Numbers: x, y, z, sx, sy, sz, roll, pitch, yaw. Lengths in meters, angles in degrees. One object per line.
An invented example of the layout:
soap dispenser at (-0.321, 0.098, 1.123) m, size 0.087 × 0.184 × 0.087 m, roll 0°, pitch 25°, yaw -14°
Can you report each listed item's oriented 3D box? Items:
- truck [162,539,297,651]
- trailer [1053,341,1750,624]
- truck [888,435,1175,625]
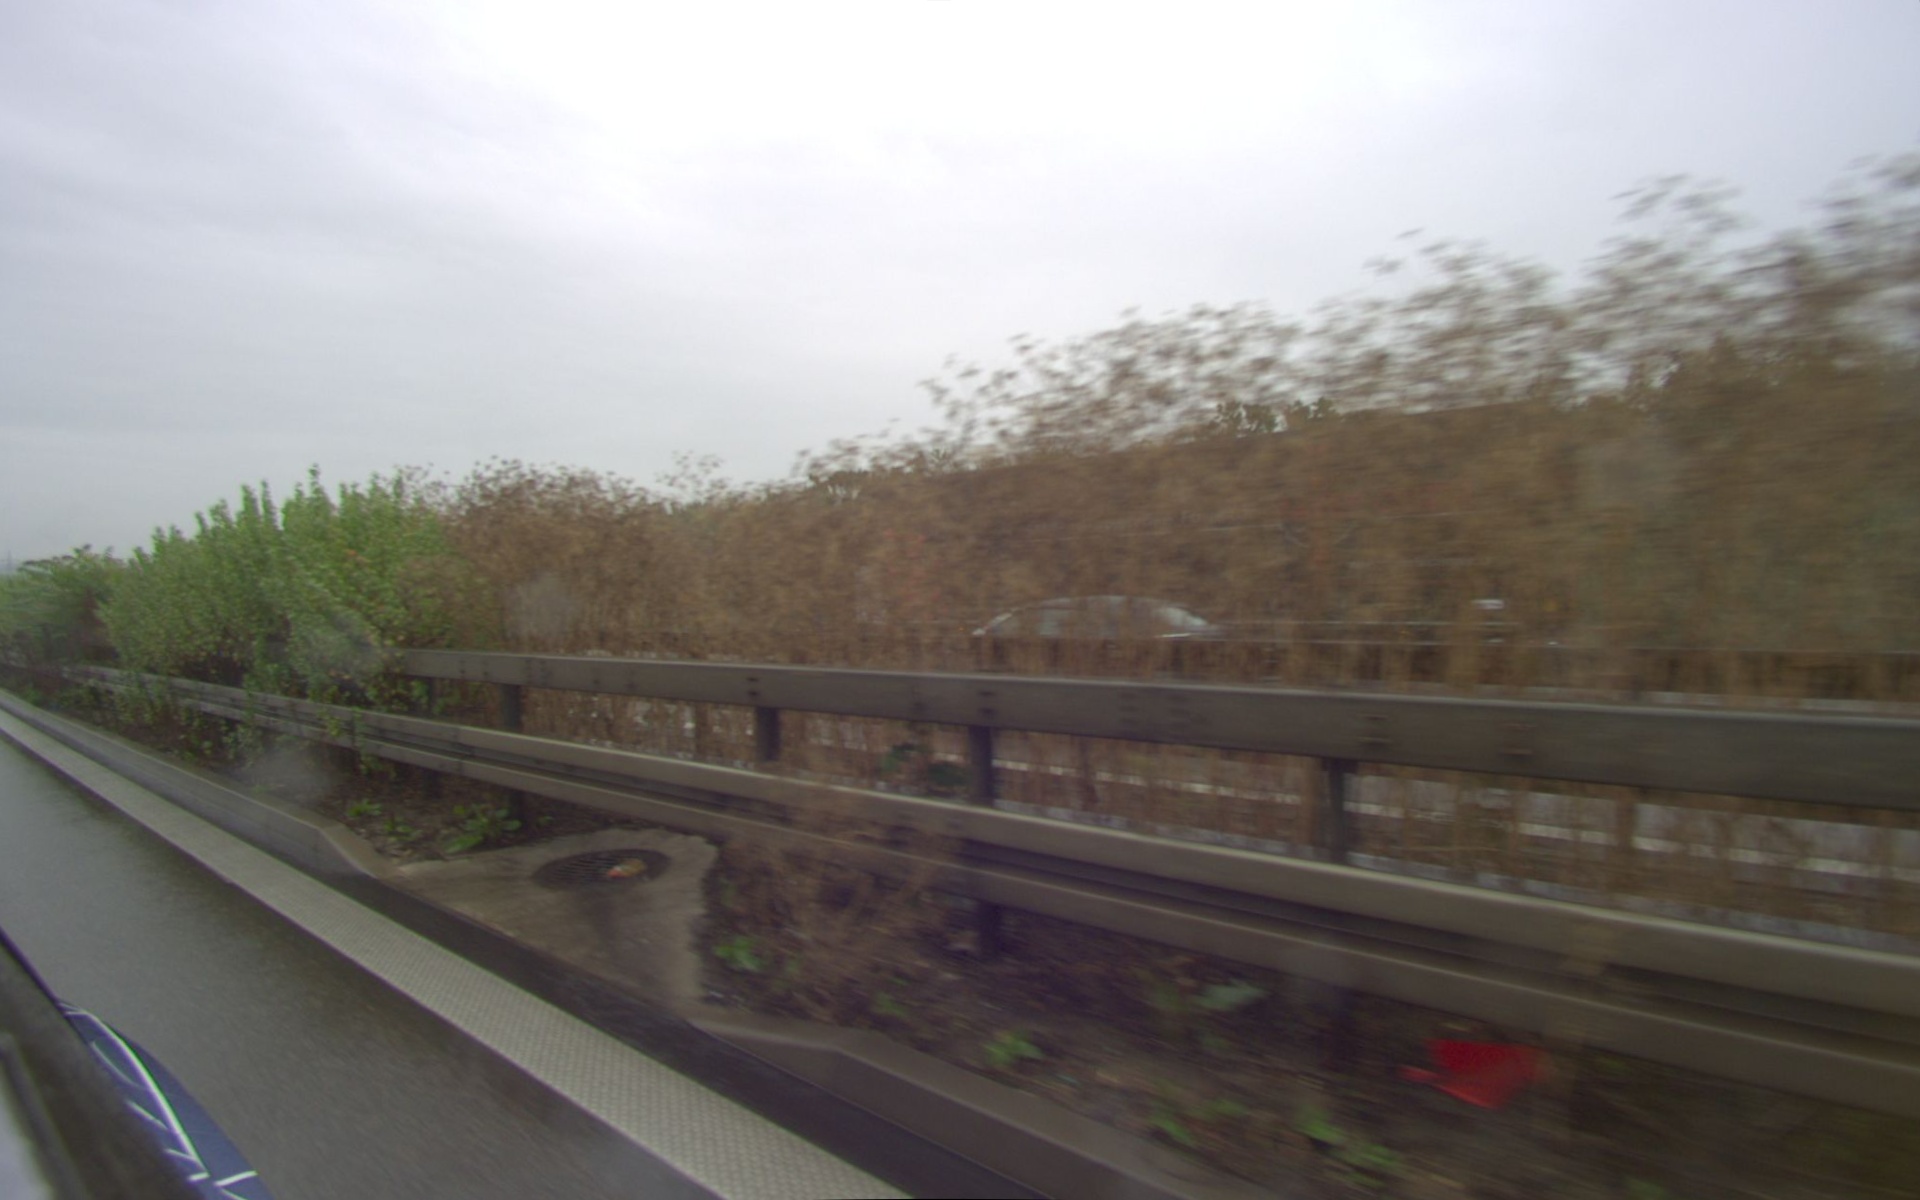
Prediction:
truck at (-45.531, -0.140, 62.671) m, size 16.007 × 6.172 × 4.067 m, roll -2°, pitch -1°, yaw 44°
trailer at (6.244, -1.329, 16.136) m, size 9.885 × 3.290 × 2.395 m, roll -2°, pitch -1°, yaw 40°
truck at (1.319, -1.191, 20.319) m, size 5.315 × 3.280 × 2.407 m, roll -2°, pitch -1°, yaw 40°
